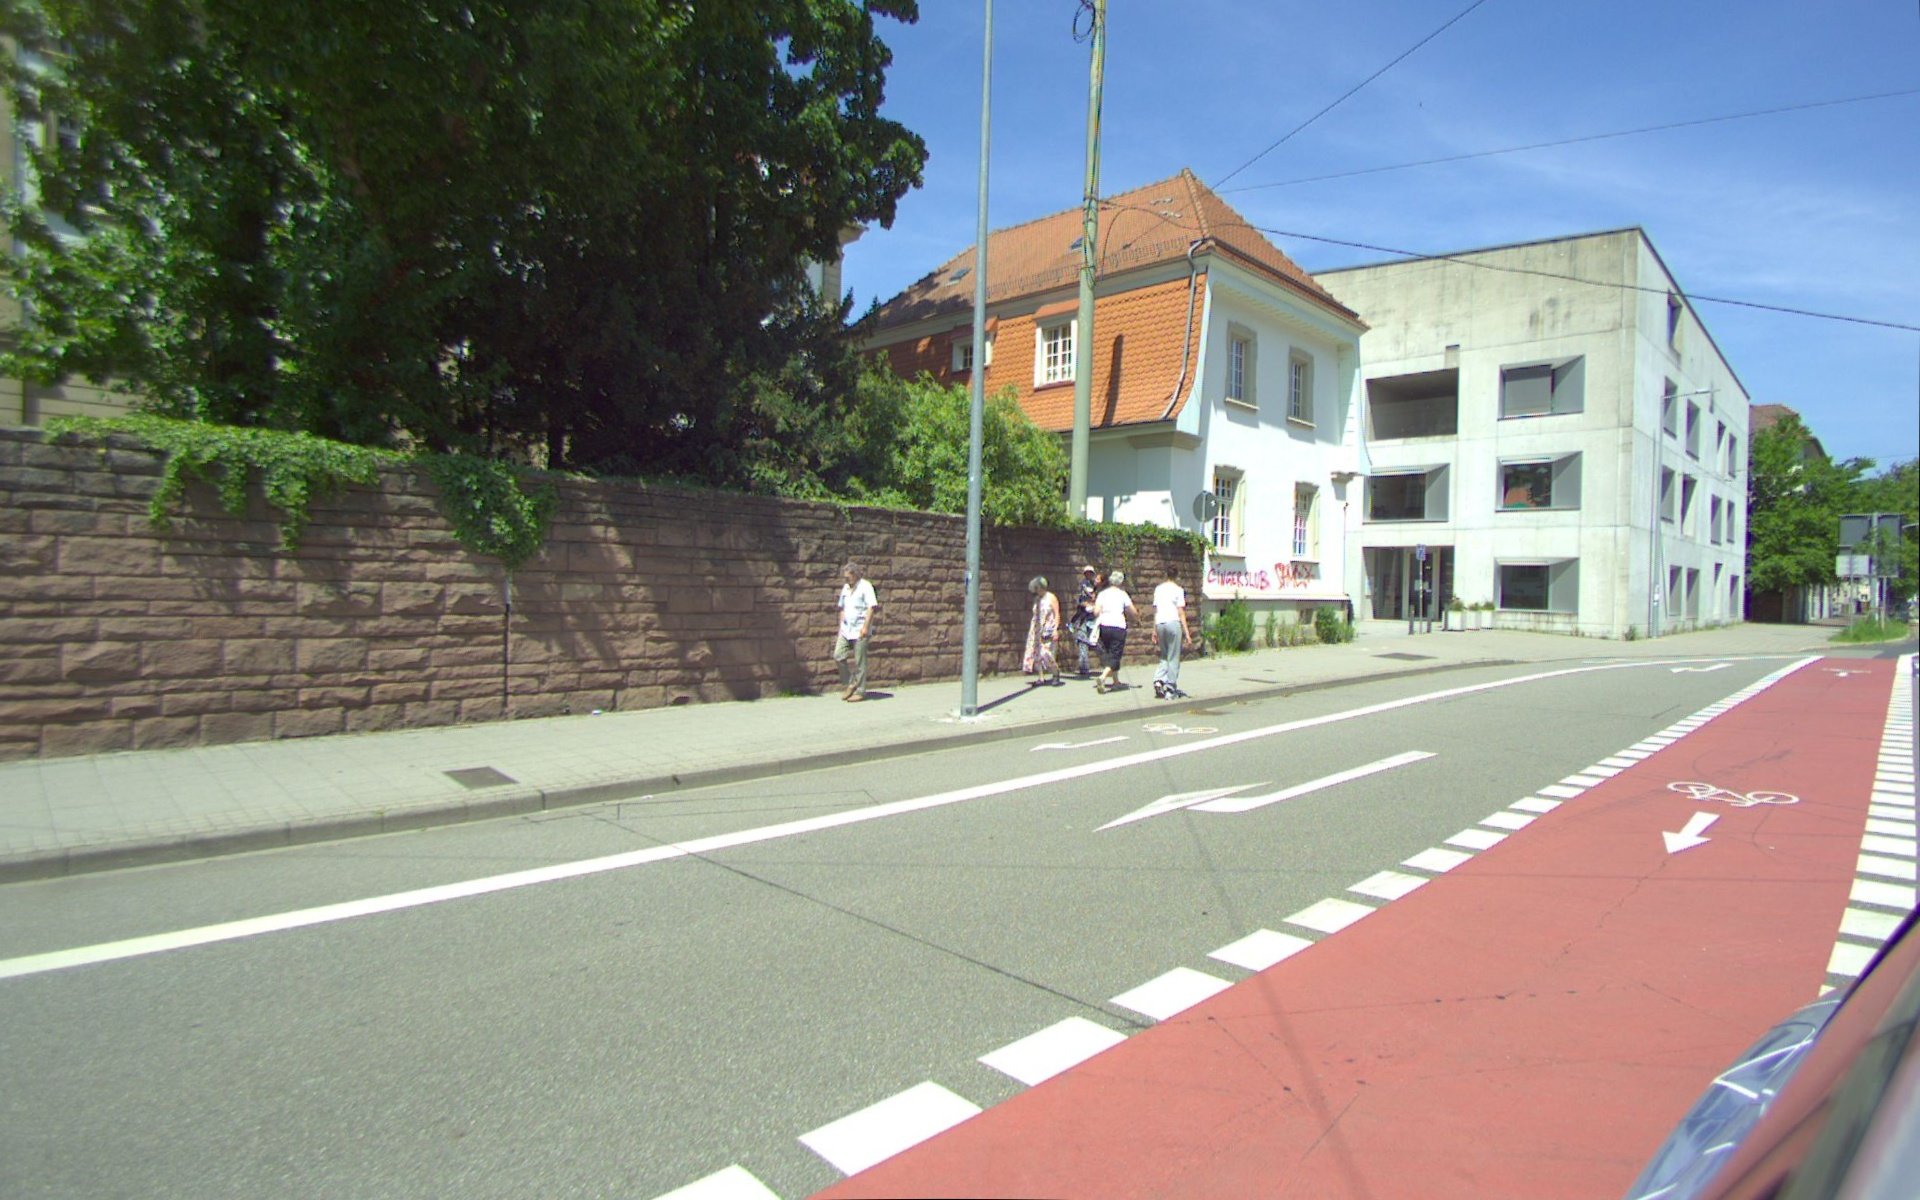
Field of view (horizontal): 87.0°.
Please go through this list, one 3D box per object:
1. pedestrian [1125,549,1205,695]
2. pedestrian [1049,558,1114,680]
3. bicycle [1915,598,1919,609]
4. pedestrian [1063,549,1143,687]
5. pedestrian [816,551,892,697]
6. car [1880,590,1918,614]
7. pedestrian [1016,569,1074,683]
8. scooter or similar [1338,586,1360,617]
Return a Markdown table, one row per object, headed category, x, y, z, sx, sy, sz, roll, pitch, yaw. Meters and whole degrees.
| category | x | y | z | sx | sy | sz | roll | pitch | yaw |
| --- | --- | --- | --- | --- | --- | --- | --- | --- | --- |
| pedestrian | 2.668 | 0.270 | 13.188 | 0.735 | 1.830 | 0.678 | 1 | 1 | -42 |
| pedestrian | 1.863 | 0.268 | 15.513 | 0.716 | 1.795 | 0.619 | 3 | 2 | 42 |
| bicycle | 106.749 | 0.361 | 112.541 | 0.280 | 1.215 | 1.615 | 0 | 1 | 24 |
| pedestrian | 1.965 | 0.227 | 13.939 | 0.688 | 1.830 | 0.815 | 1 | 1 | -41 |
| pedestrian | -1.257 | 0.266 | 11.979 | 0.613 | 1.668 | 0.662 | 1 | 1 | -41 |
| car | 66.828 | 0.112 | 71.999 | 1.860 | 1.597 | 4.800 | 1 | 1 | 44 |
| pedestrian | 1.181 | 0.349 | 14.134 | 0.587 | 1.552 | 0.516 | 1 | 1 | -41 |
| scooter or similar | 15.211 | 0.049 | 39.568 | 0.531 | 1.154 | 0.950 | 1 | 1 | 38 |
